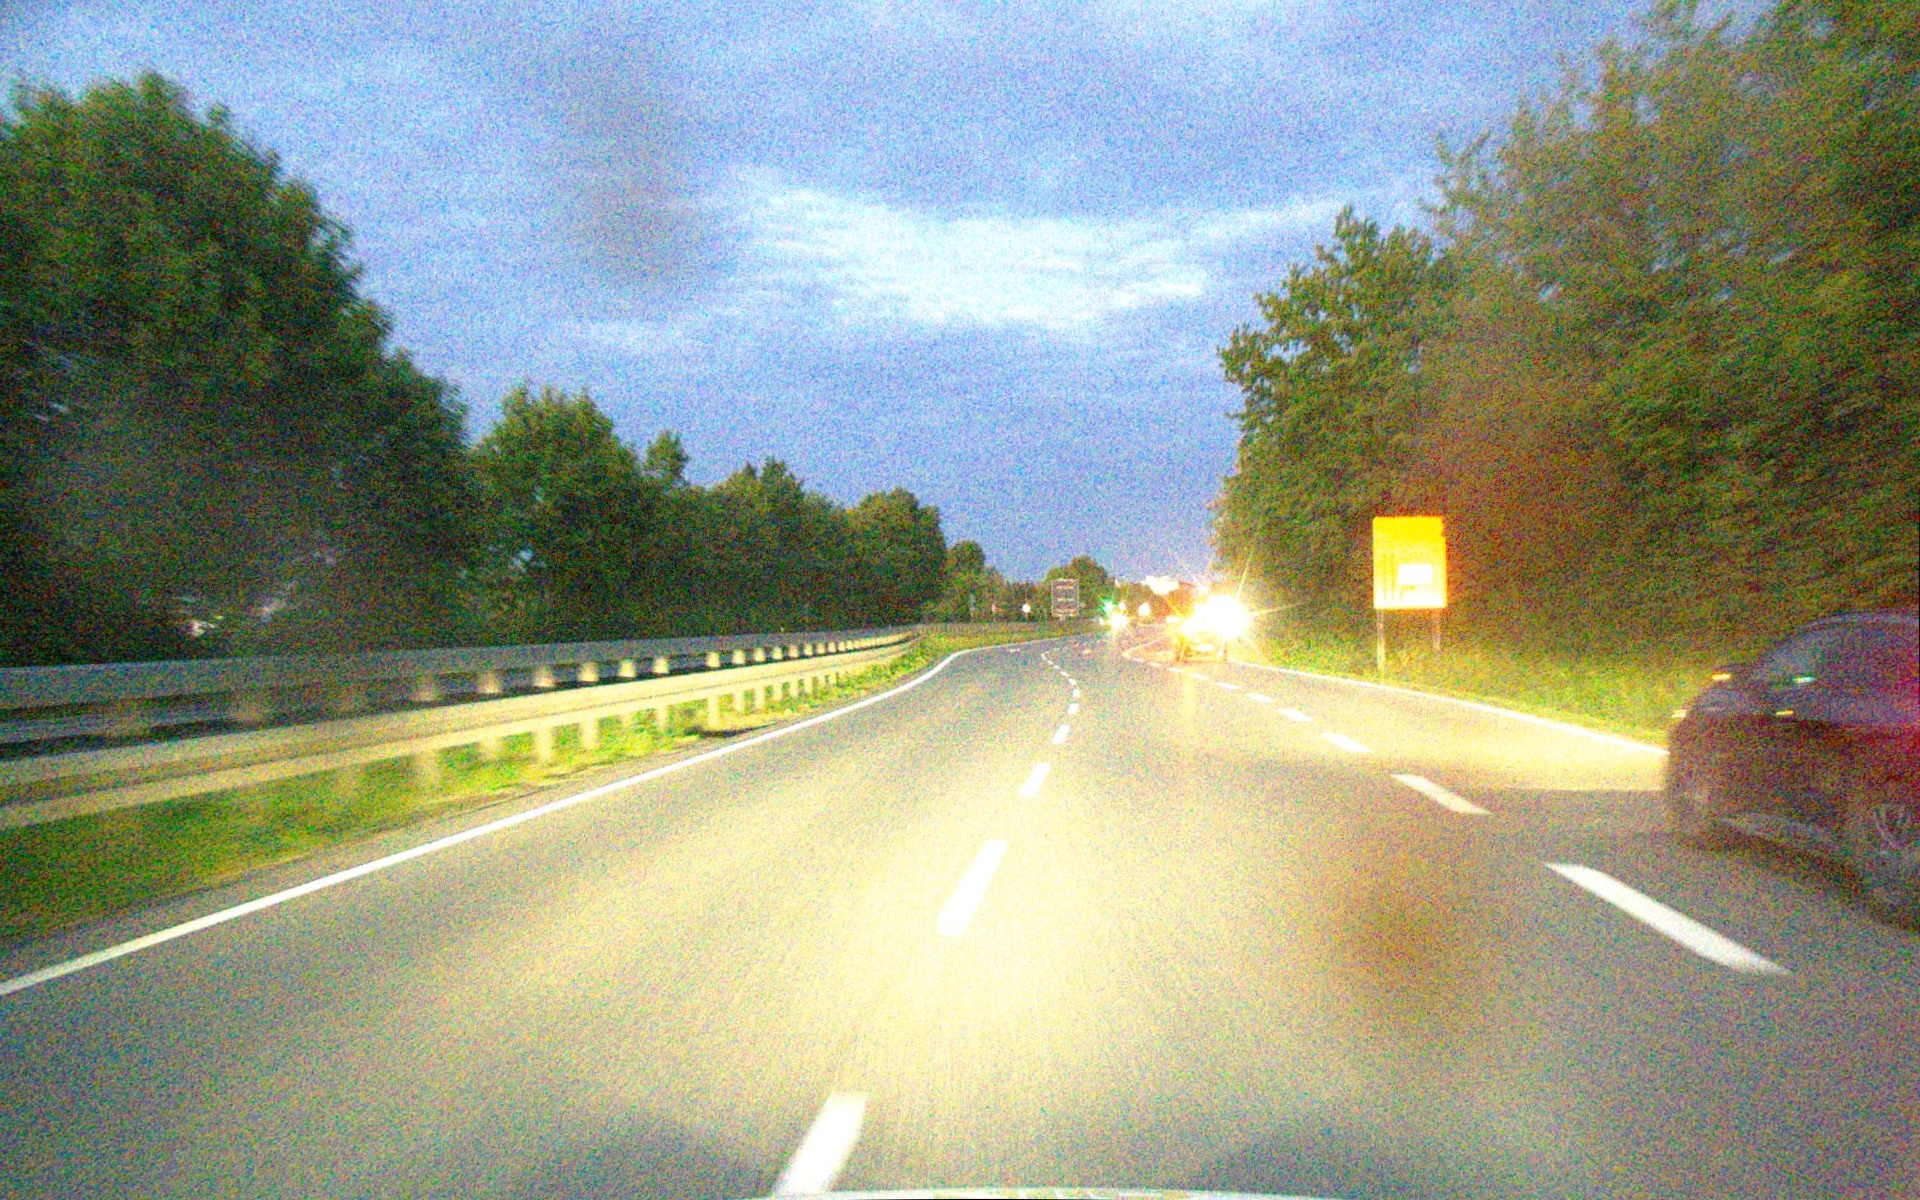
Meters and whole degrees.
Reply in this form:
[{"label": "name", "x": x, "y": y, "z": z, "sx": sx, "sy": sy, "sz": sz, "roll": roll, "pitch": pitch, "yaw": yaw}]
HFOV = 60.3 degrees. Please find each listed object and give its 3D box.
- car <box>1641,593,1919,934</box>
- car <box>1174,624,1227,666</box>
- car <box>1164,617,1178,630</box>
[{"label": "car", "x": 5.677, "y": 0.814, "z": 9.563, "sx": 1.861, "sy": 1.648, "sz": 4.558, "roll": 0, "pitch": -1, "yaw": 4}, {"label": "car", "x": 8.752, "y": 1.630, "z": 60.372, "sx": 1.716, "sy": 1.478, "sz": 4.436, "roll": 0, "pitch": -1, "yaw": 6}, {"label": "car", "x": 31.553, "y": 3.511, "z": 246.953, "sx": 1.951, "sy": 1.780, "sz": 4.002, "roll": -4, "pitch": -2, "yaw": 7}]
